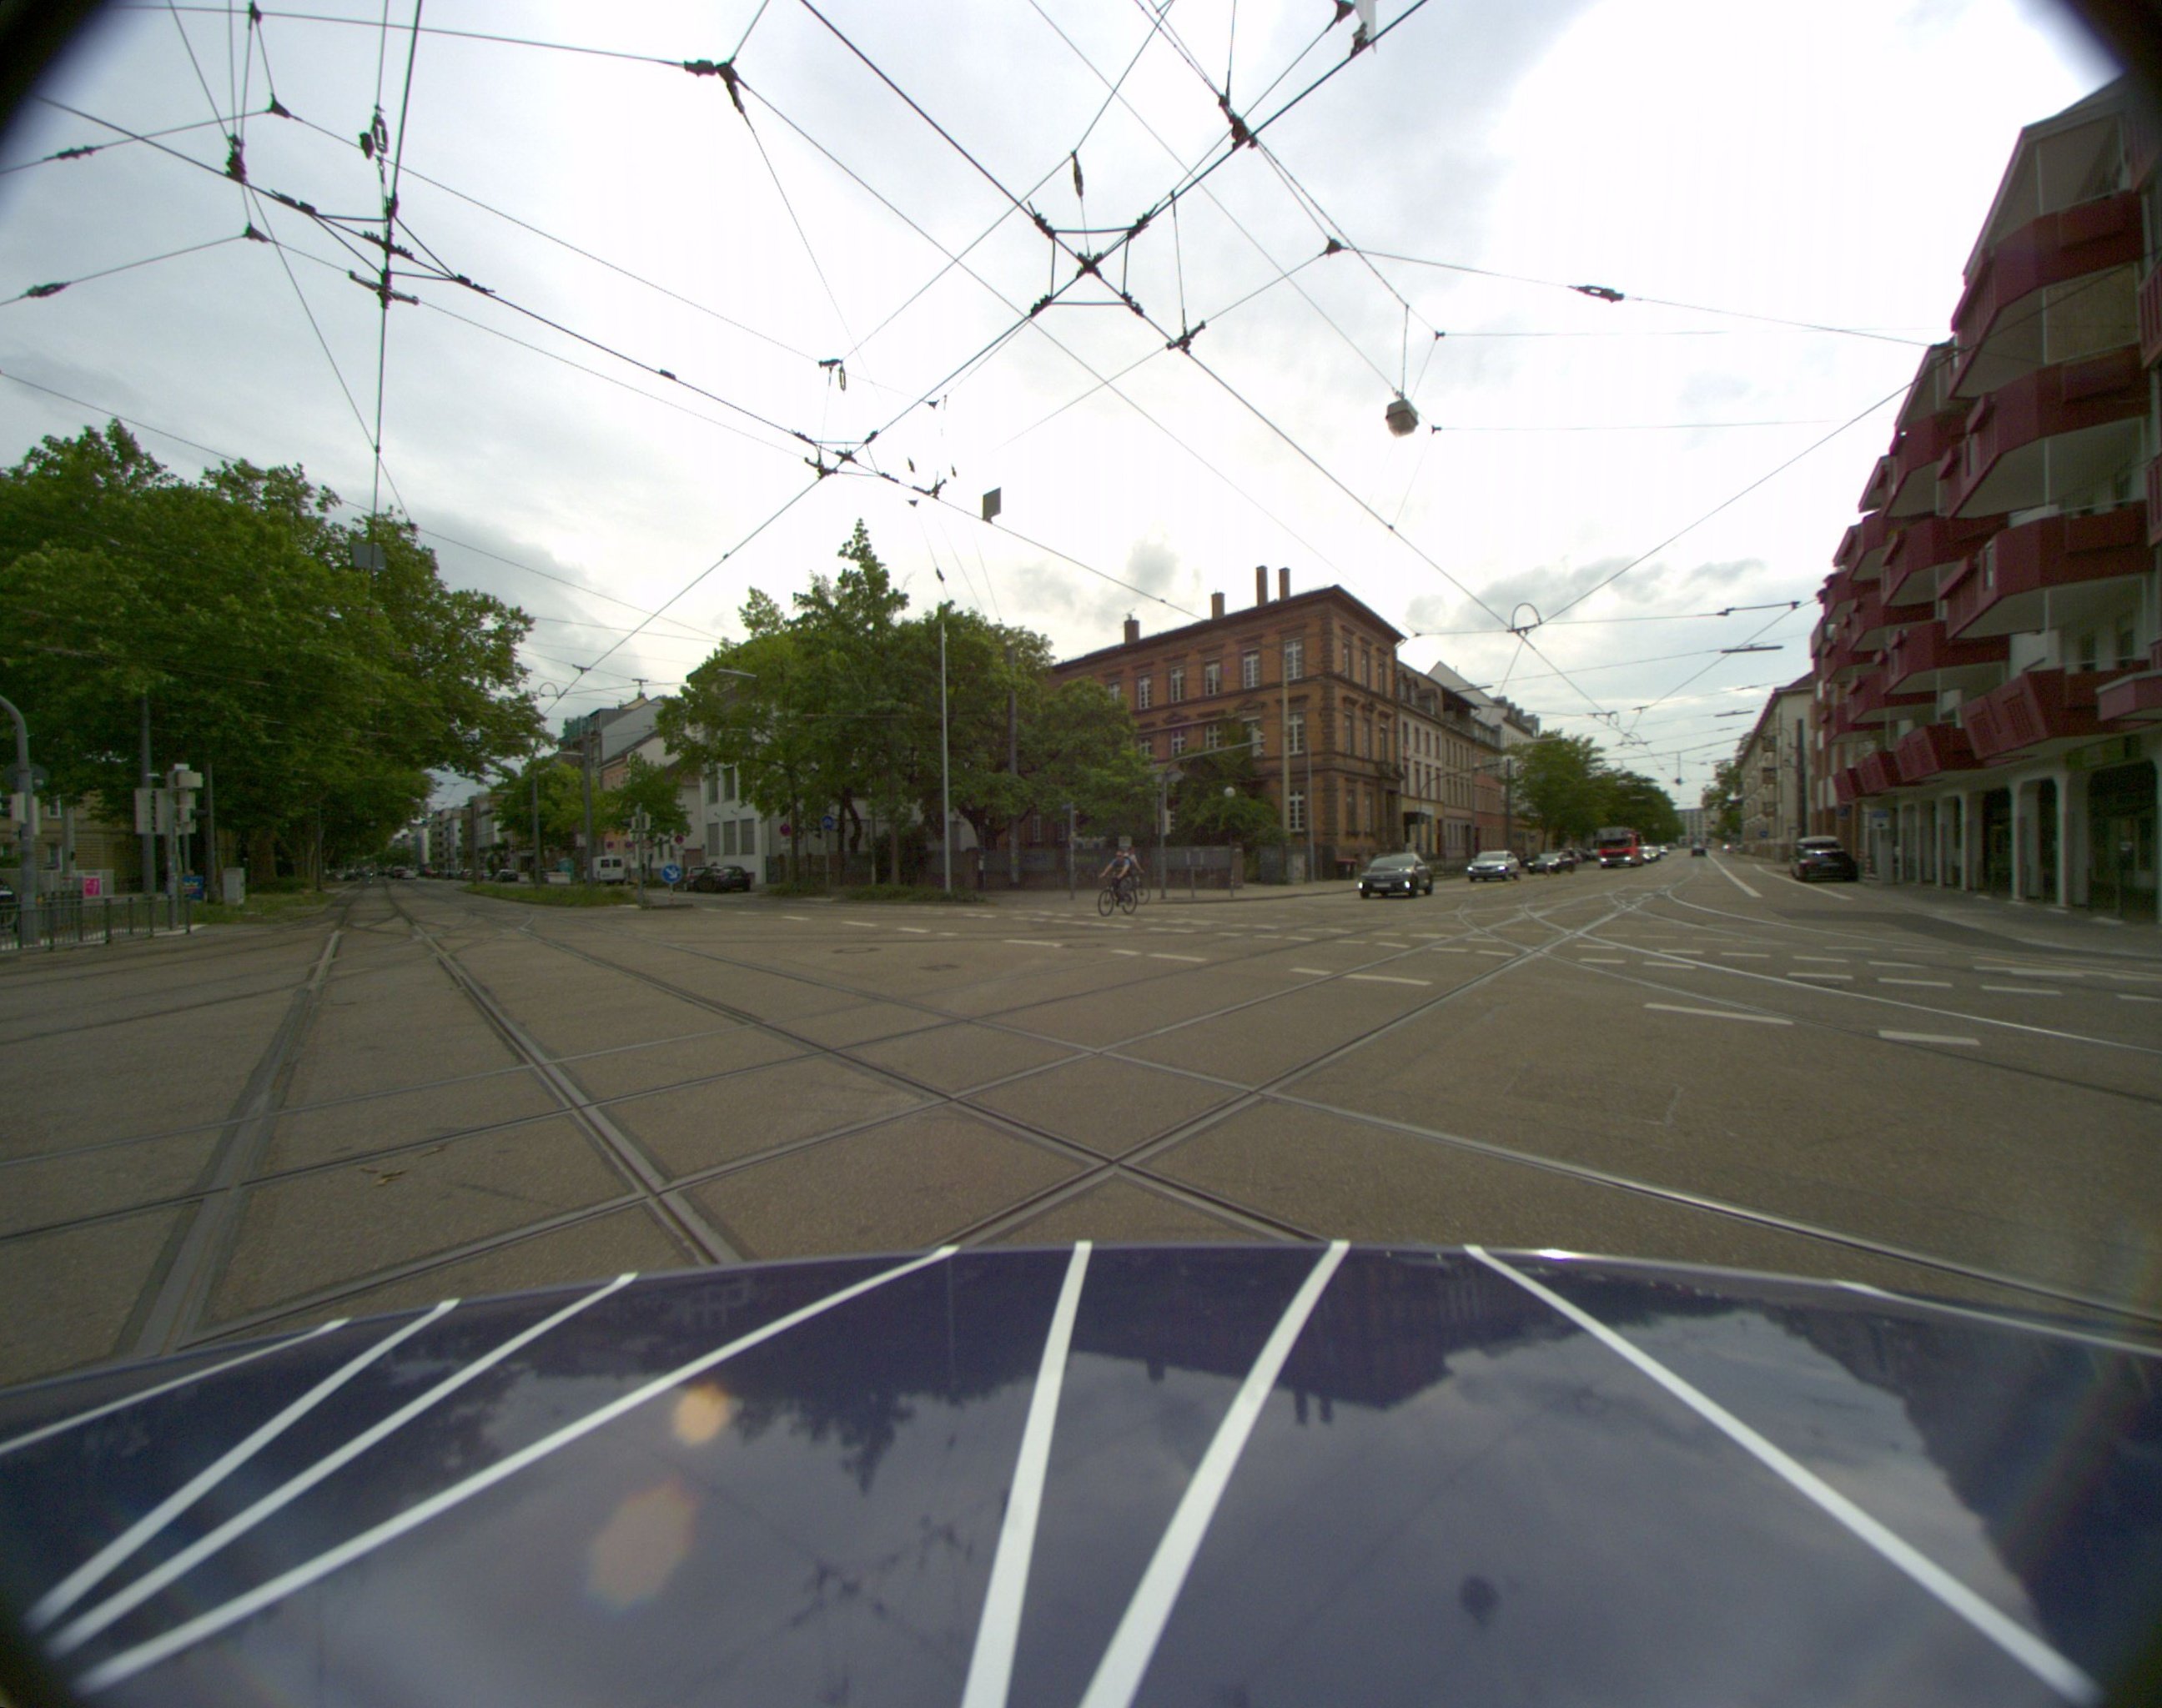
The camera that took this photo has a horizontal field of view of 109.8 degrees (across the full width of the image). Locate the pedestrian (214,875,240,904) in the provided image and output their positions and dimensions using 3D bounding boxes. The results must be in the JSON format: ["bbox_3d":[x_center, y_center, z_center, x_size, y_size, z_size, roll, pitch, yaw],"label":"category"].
[{"bbox_3d":[-56.492,2.325,50.268,0.838,1.854,1.248,-1,0,-34],"label":"pedestrian"}]

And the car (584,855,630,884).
[{"bbox_3d":[-36.812,1.185,58.995,2.102,2.176,4.408,-1,-1,-44],"label":"car"}]

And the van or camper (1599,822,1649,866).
[{"bbox_3d":[44.816,-0.771,62.571,2.602,3.400,9.673,-1,-1,40],"label":"van or camper"}]

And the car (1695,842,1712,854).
[{"bbox_3d":[88.571,-0.857,108.086,1.770,1.528,4.057,-3,-2,41],"label":"car"}]

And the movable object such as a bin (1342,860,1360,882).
[{"bbox_3d":[14.351,0.906,40.358,0.663,1.076,0.702,3,3,37],"label":"movable object such as a bin"}]

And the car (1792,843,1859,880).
[{"bbox_3d":[33.532,0.324,34.316,1.756,1.471,4.708,-4,-2,40],"label":"car"}]

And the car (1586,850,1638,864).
[{"bbox_3d":[63.050,0.325,90.293,4.619,1.688,1.919,0,0,17],"label":"car"}]

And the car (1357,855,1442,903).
[{"bbox_3d":[11.213,0.839,26.589,1.770,1.538,4.291,-3,-2,35],"label":"car"}]

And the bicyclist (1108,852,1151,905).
[{"bbox_3d":[1.661,0.833,26.087,0.749,1.750,1.249,-1,0,-44],"label":"bicyclist"}]

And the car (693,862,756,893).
[{"bbox_3d":[-19.348,1.246,41.125,1.740,1.552,4.408,-1,-1,-44],"label":"car"}]

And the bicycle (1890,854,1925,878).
[{"bbox_3d":[33.338,0.473,30.662,0.564,0.947,1.653,-1,0,33],"label":"bicycle"}]

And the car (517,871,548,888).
[{"bbox_3d":[-59.216,2.746,81.998,2.102,1.796,4.408,-1,-1,-44],"label":"car"}]

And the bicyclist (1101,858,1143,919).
[{"bbox_3d":[1.054,0.855,19.391,0.714,1.498,0.920,-1,1,30],"label":"bicyclist"}]

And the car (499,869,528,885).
[{"bbox_3d":[-67.017,2.663,89.704,2.102,1.796,4.408,-1,-1,-44],"label":"car"}]

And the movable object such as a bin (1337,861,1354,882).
[{"bbox_3d":[13.928,0.919,39.993,0.651,1.076,0.679,3,3,37],"label":"movable object such as a bin"}]

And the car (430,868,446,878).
[{"bbox_3d":[-128.486,3.786,151.841,2.102,1.855,4.408,-1,-1,-44],"label":"car"}]

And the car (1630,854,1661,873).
[{"bbox_3d":[54.068,0.909,72.704,1.994,1.698,4.061,-1,0,42],"label":"car"}]

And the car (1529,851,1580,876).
[{"bbox_3d":[31.344,0.623,50.238,4.057,1.525,1.770,-1,-2,-42],"label":"car"}]

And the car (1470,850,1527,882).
[{"bbox_3d":[22.454,0.597,40.771,1.770,1.581,4.291,-3,-2,41],"label":"car"}]

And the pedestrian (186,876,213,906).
[{"bbox_3d":[-57.153,2.397,49.283,0.838,1.854,1.173,-1,0,-34],"label":"pedestrian"}]

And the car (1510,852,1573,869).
[{"bbox_3d":[41.774,0.589,69.052,4.619,1.464,1.792,0,0,17],"label":"car"}]

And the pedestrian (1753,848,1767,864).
[{"bbox_3d":[75.479,0.231,84.519,0.998,1.831,1.021,-1,0,33],"label":"pedestrian"}]

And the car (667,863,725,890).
[{"bbox_3d":[-22.552,1.308,44.462,1.764,1.526,4.408,-1,-1,-44],"label":"car"}]

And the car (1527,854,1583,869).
[{"bbox_3d":[46.464,0.746,74.519,4.336,1.471,1.792,0,0,17],"label":"car"}]

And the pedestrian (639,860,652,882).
[{"bbox_3d":[-36.254,1.417,63.224,0.770,1.770,0.764,-1,0,-43],"label":"pedestrian"}]

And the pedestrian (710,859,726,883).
[{"bbox_3d":[-25.031,1.162,52.358,0.770,1.640,0.764,-1,0,-42],"label":"pedestrian"}]

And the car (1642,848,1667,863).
[{"bbox_3d":[59.432,0.138,78.695,1.907,1.478,4.008,-1,0,39],"label":"car"}]

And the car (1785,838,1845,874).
[{"bbox_3d":[37.278,0.081,38.672,1.808,1.637,4.708,-4,-2,40],"label":"car"}]

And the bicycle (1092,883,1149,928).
[{"bbox_3d":[1.032,1.282,19.348,0.713,1.012,1.803,-1,0,30],"label":"bicycle"}]

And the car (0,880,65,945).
[{"bbox_3d":[-27.908,1.471,19.082,1.841,1.557,4.409,-1,-1,-39],"label":"car"}]

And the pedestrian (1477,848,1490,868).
[{"bbox_3d":[33.701,0.343,63.637,0.730,1.679,0.928,4,3,40],"label":"pedestrian"}]

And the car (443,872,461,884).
[{"bbox_3d":[-110.024,4.190,132.899,2.102,1.855,4.408,-1,-1,-43],"label":"car"}]

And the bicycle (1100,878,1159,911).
[{"bbox_3d":[1.648,1.375,26.133,0.752,1.080,2.010,-1,0,-43],"label":"bicycle"}]

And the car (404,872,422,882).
[{"bbox_3d":[-117.948,4.075,134.151,3.738,1.482,1.851,-3,-1,42],"label":"car"}]
